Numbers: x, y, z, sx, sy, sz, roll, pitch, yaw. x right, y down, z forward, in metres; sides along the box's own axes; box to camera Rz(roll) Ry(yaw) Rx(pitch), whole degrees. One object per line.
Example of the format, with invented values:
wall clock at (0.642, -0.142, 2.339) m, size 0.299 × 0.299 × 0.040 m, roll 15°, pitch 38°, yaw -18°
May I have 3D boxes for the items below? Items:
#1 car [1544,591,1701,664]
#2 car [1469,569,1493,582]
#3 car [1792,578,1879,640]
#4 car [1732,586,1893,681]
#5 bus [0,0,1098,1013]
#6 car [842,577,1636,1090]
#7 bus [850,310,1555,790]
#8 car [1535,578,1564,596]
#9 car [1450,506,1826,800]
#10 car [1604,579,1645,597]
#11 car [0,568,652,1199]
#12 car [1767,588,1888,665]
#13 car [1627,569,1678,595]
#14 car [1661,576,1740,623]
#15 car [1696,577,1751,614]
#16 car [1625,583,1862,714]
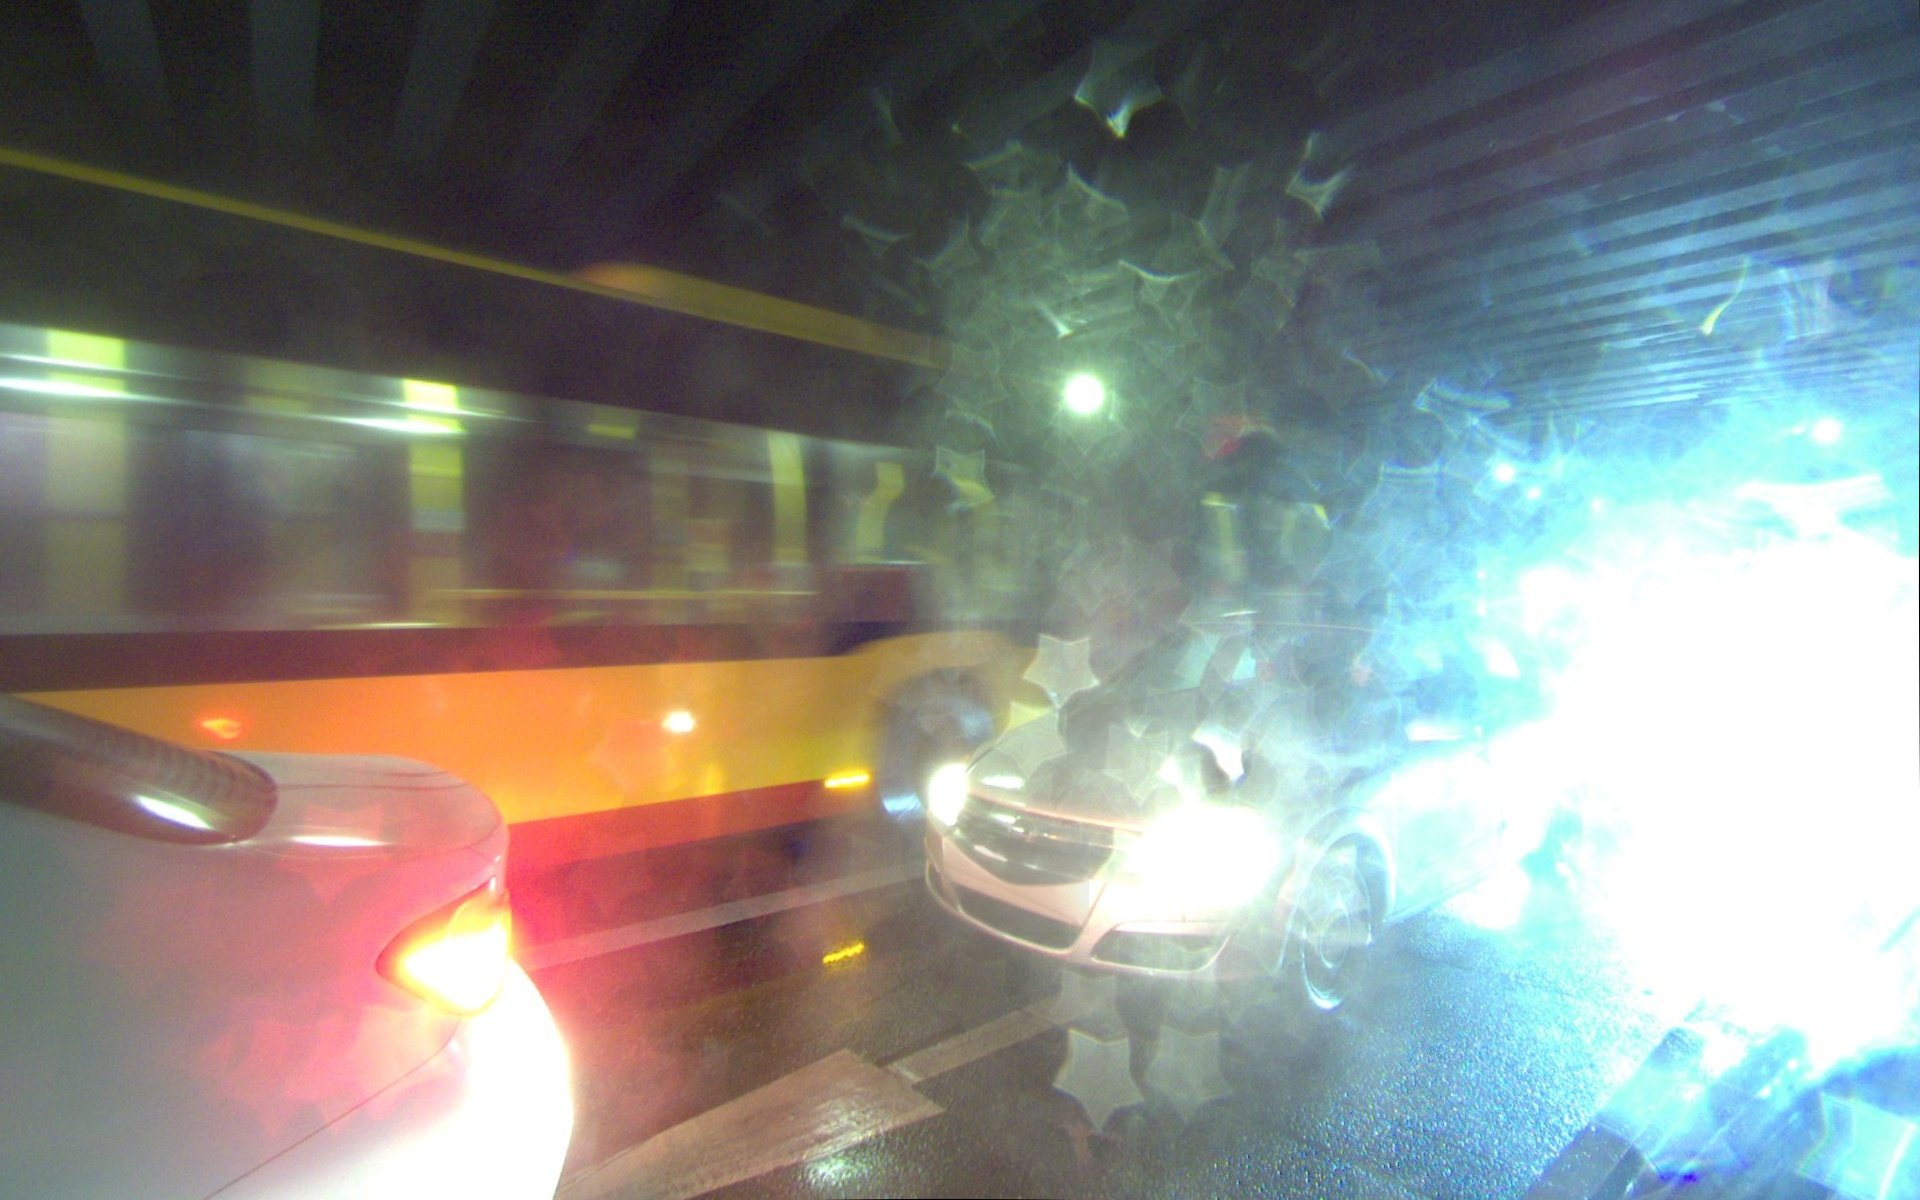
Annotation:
car at (15.184, 0.547, 23.094) m, size 4.548 × 1.497 × 1.840 m, roll -1°, pitch 0°, yaw -41°
car at (64.835, -3.069, 125.944) m, size 1.856 × 1.490 × 3.980 m, roll 0°, pitch 0°, yaw 16°
car at (24.575, 0.210, 28.370) m, size 1.737 × 1.610 × 3.939 m, roll 0°, pitch 0°, yaw 42°
car at (15.356, 0.524, 18.169) m, size 3.930 × 1.522 × 1.628 m, roll -1°, pitch 0°, yaw -41°
bus at (-3.497, -0.365, 4.293) m, size 9.600 × 3.163 × 2.771 m, roll 0°, pitch 0°, yaw -44°
car at (1.575, 0.620, 4.823) m, size 3.931 × 1.384 × 1.791 m, roll -2°, pitch 2°, yaw -41°
bus at (3.457, -0.331, 11.028) m, size 9.600 × 3.163 × 2.771 m, roll 0°, pitch 0°, yaw -44°
car at (51.181, -1.103, 87.870) m, size 1.864 × 1.490 × 3.964 m, roll 0°, pitch 0°, yaw 26°
car at (6.495, 0.357, 9.496) m, size 4.274 × 2.115 × 1.996 m, roll -1°, pitch 0°, yaw -43°
car at (57.460, -1.035, 87.590) m, size 1.830 × 1.503 × 4.458 m, roll 1°, pitch 1°, yaw 18°
car at (-2.694, 0.685, 0.988) m, size 4.273 × 1.422 × 1.719 m, roll -1°, pitch 0°, yaw -41°
car at (18.665, 0.494, 21.717) m, size 1.679 × 1.490 × 3.935 m, roll 0°, pitch 0°, yaw 45°
car at (40.994, -1.091, 60.001) m, size 1.835 × 1.449 × 4.463 m, roll 0°, pitch 2°, yaw 26°
car at (25.772, -0.007, 35.168) m, size 1.846 × 1.503 × 4.560 m, roll 2°, pitch 1°, yaw 41°
car at (44.341, -0.270, 58.830) m, size 1.982 × 2.039 × 3.959 m, roll 0°, pitch 0°, yaw 29°
car at (10.760, 0.546, 13.818) m, size 3.701 × 1.531 × 1.867 m, roll -1°, pitch 0°, yaw -41°
